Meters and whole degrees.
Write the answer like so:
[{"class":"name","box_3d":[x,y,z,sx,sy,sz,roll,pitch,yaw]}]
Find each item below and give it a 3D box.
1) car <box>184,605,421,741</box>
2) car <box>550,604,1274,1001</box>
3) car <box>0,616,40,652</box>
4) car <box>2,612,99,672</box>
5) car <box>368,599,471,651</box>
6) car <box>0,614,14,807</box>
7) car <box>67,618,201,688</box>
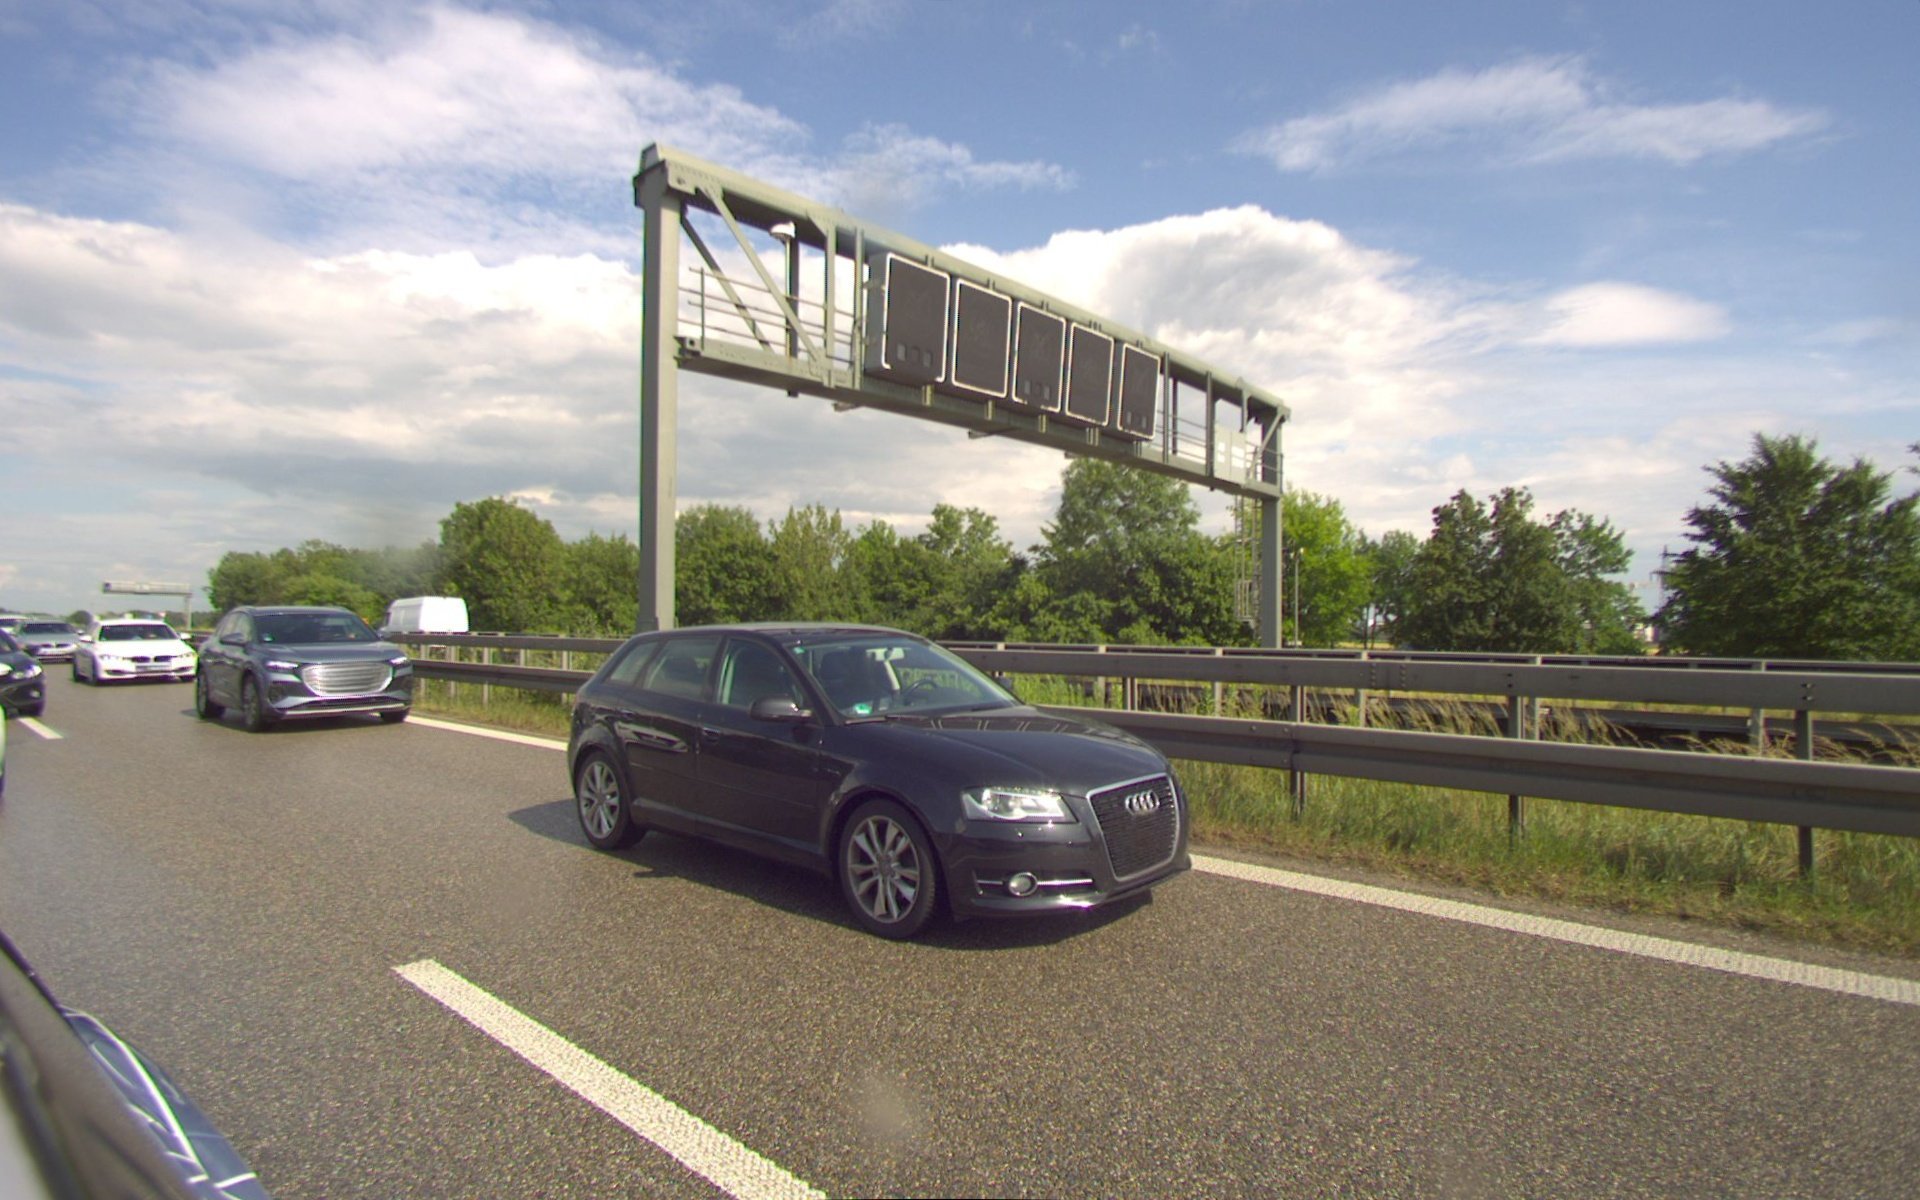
[{"class":"car","box_3d":[-9.326,0.903,14.215,4.229,1.618,1.850,-1,-1,43]},{"class":"car","box_3d":[-0.555,0.767,5.780,4.139,1.436,1.747,-1,0,43]},{"class":"car","box_3d":[-43.402,1.520,45.953,3.999,1.490,1.972,0,1,42]},{"class":"car","box_3d":[-30.072,1.328,33.433,3.999,1.761,1.972,0,1,42]},{"class":"car","box_3d":[-22.451,1.027,41.919,5.556,2.029,1.972,-1,-2,42]},{"class":"car","box_3d":[-9.523,0.869,8.560,4.547,1.466,1.861,-1,-1,42]},{"class":"car","box_3d":[-18.724,1.123,22.882,3.999,1.389,1.748,0,-1,42]}]
